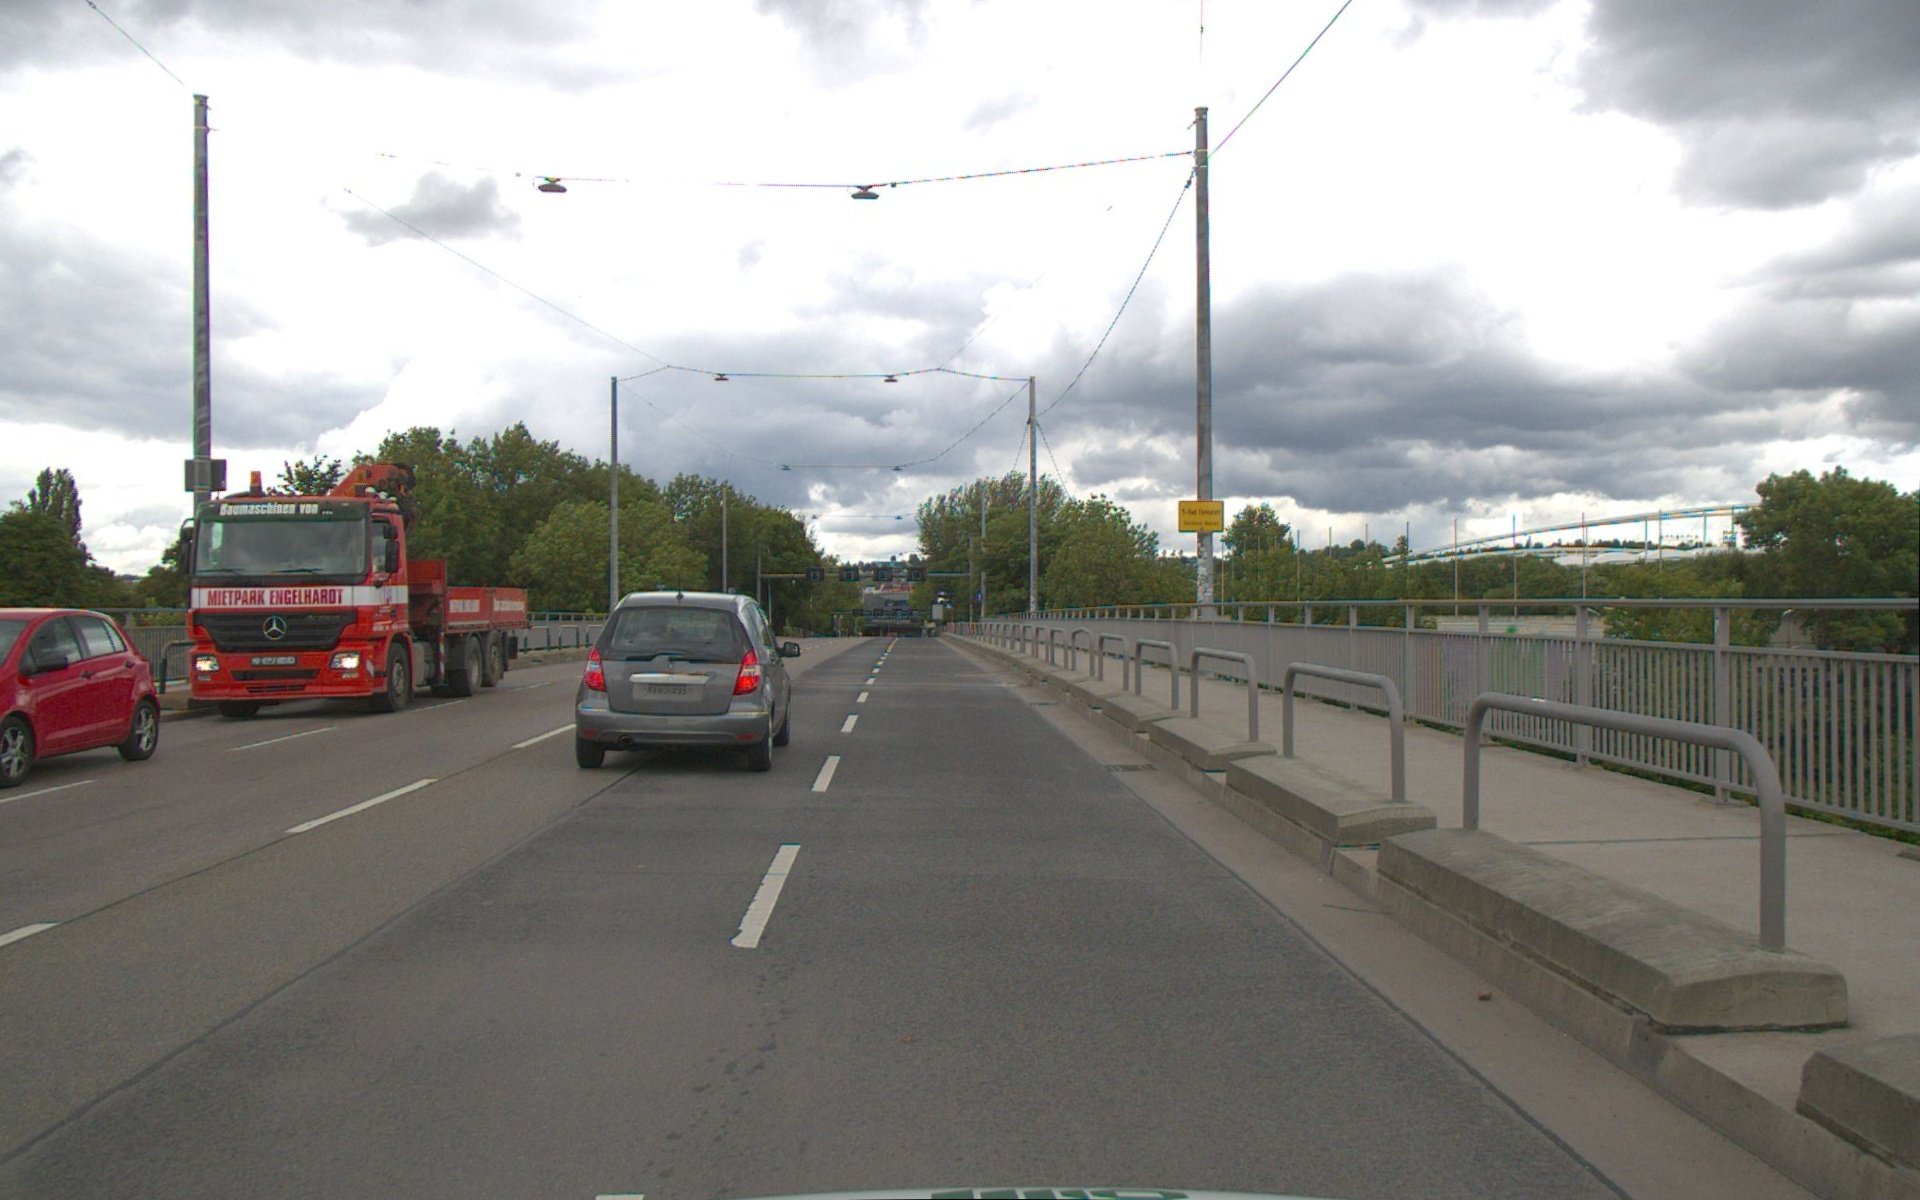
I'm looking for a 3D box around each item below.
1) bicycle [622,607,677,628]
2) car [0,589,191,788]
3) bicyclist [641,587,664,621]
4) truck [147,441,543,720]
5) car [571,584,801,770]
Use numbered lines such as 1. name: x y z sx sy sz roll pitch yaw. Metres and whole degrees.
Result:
1. bicycle: -16.181 0.904 86.192 2.738 1.069 0.919 0 -1 -7
2. car: -8.833 0.744 15.085 1.842 1.631 4.014 -1 0 -2
3. bicyclist: -16.020 0.211 86.237 1.111 1.795 0.904 0 -1 -7
4. truck: -9.397 -0.272 26.881 2.945 3.628 9.978 -1 0 -2
5. car: -2.507 0.652 15.972 1.710 1.577 3.869 0 0 -2
